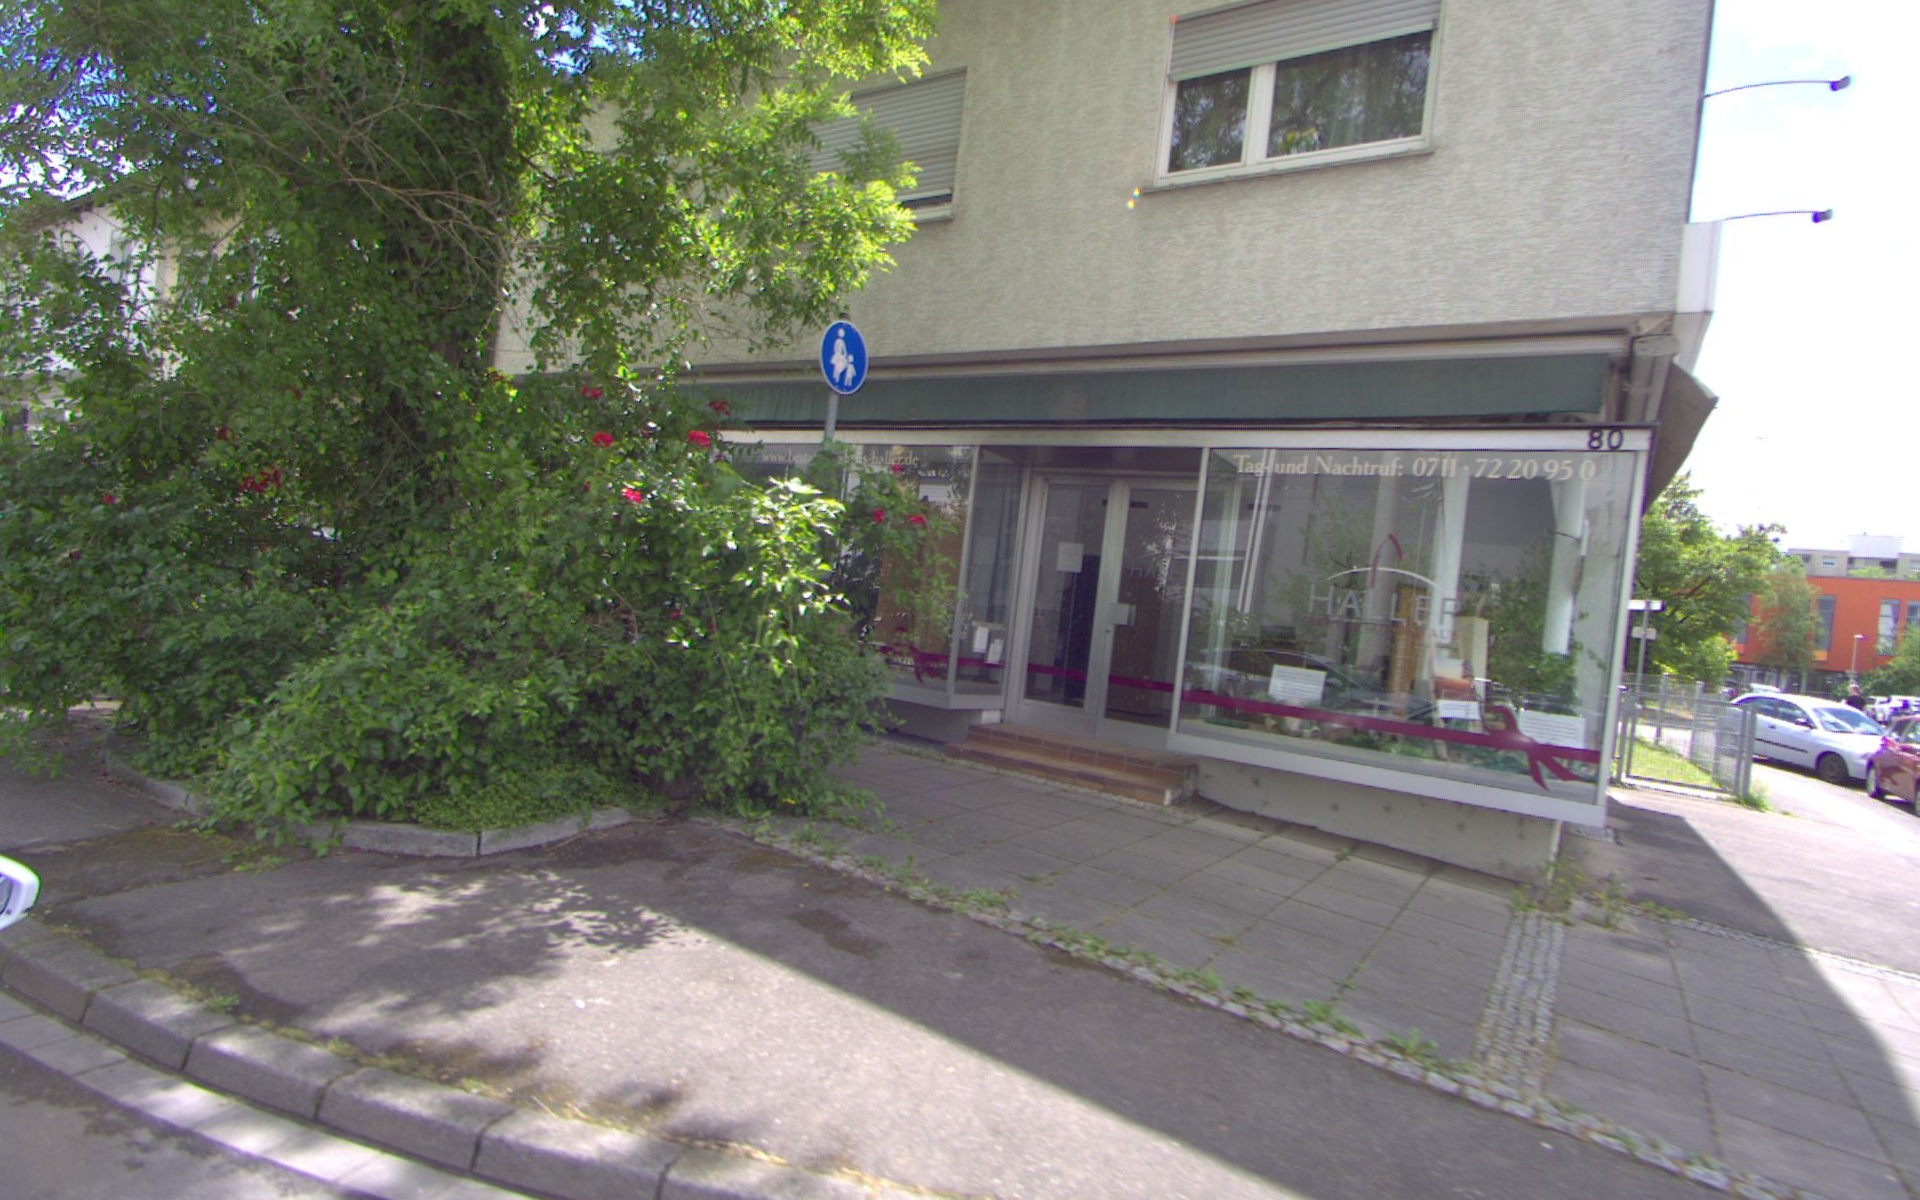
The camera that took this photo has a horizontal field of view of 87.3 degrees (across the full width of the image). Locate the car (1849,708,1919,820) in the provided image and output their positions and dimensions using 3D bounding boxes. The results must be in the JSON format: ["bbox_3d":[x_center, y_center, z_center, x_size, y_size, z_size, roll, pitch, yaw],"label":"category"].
[{"bbox_3d":[15.362,2.579,15.342,1.766,1.450,4.310,6,0,30],"label":"car"}]

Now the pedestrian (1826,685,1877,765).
[{"bbox_3d":[23.021,3.227,25.984,0.568,1.938,0.675,8,-1,-31],"label":"pedestrian"}]

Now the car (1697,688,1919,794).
[{"bbox_3d":[16.774,2.692,19.666,1.763,1.450,3.776,5,0,-2],"label":"car"}]

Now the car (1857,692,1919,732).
[{"bbox_3d":[48.456,5.800,52.403,1.823,1.708,4.523,7,1,35],"label":"car"}]

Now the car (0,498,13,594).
[{"bbox_3d":[-10.034,-0.382,8.697,3.977,1.480,1.816,7,-1,35],"label":"car"}]

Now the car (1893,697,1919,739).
[{"bbox_3d":[43.263,5.333,44.699,1.823,1.708,4.523,7,1,35],"label":"car"}]
